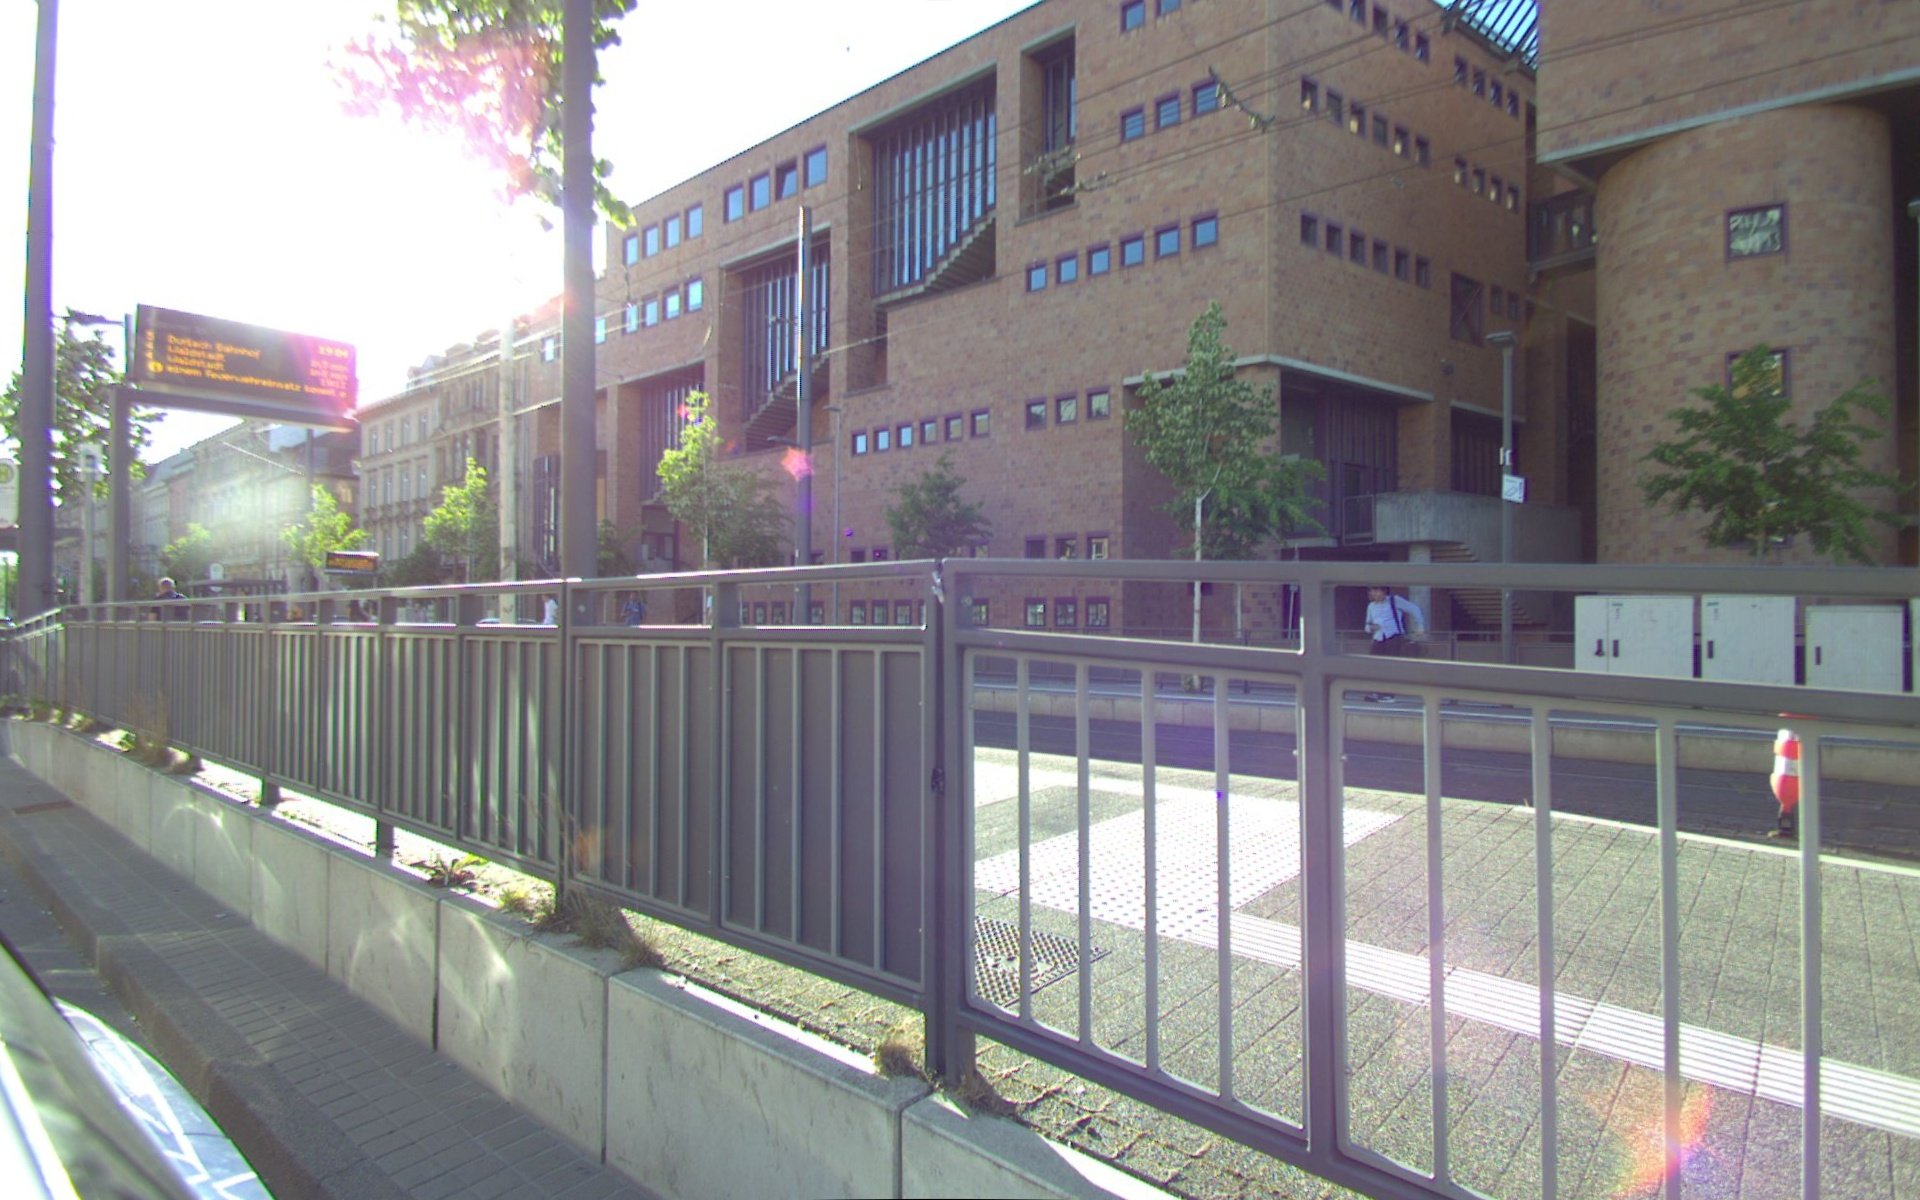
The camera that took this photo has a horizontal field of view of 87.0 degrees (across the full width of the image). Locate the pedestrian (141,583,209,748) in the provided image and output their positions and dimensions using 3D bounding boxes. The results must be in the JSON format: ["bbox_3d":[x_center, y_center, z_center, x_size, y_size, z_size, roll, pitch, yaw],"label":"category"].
[{"bbox_3d":[-12.003,0.969,15.482,0.625,2.461,0.676,0,0,38],"label":"pedestrian"}]

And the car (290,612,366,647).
[{"bbox_3d":[-29.905,1.360,47.828,4.237,1.580,1.807,0,-2,40],"label":"car"}]

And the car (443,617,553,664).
[{"bbox_3d":[-16.837,1.421,36.817,4.691,1.580,1.806,0,-2,40],"label":"car"}]

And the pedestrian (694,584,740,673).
[{"bbox_3d":[-5.067,0.573,21.111,0.668,1.821,0.677,0,0,40],"label":"pedestrian"}]

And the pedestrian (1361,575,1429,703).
[{"bbox_3d":[5.771,0.496,13.423,0.684,1.647,0.660,0,0,37],"label":"pedestrian"}]
